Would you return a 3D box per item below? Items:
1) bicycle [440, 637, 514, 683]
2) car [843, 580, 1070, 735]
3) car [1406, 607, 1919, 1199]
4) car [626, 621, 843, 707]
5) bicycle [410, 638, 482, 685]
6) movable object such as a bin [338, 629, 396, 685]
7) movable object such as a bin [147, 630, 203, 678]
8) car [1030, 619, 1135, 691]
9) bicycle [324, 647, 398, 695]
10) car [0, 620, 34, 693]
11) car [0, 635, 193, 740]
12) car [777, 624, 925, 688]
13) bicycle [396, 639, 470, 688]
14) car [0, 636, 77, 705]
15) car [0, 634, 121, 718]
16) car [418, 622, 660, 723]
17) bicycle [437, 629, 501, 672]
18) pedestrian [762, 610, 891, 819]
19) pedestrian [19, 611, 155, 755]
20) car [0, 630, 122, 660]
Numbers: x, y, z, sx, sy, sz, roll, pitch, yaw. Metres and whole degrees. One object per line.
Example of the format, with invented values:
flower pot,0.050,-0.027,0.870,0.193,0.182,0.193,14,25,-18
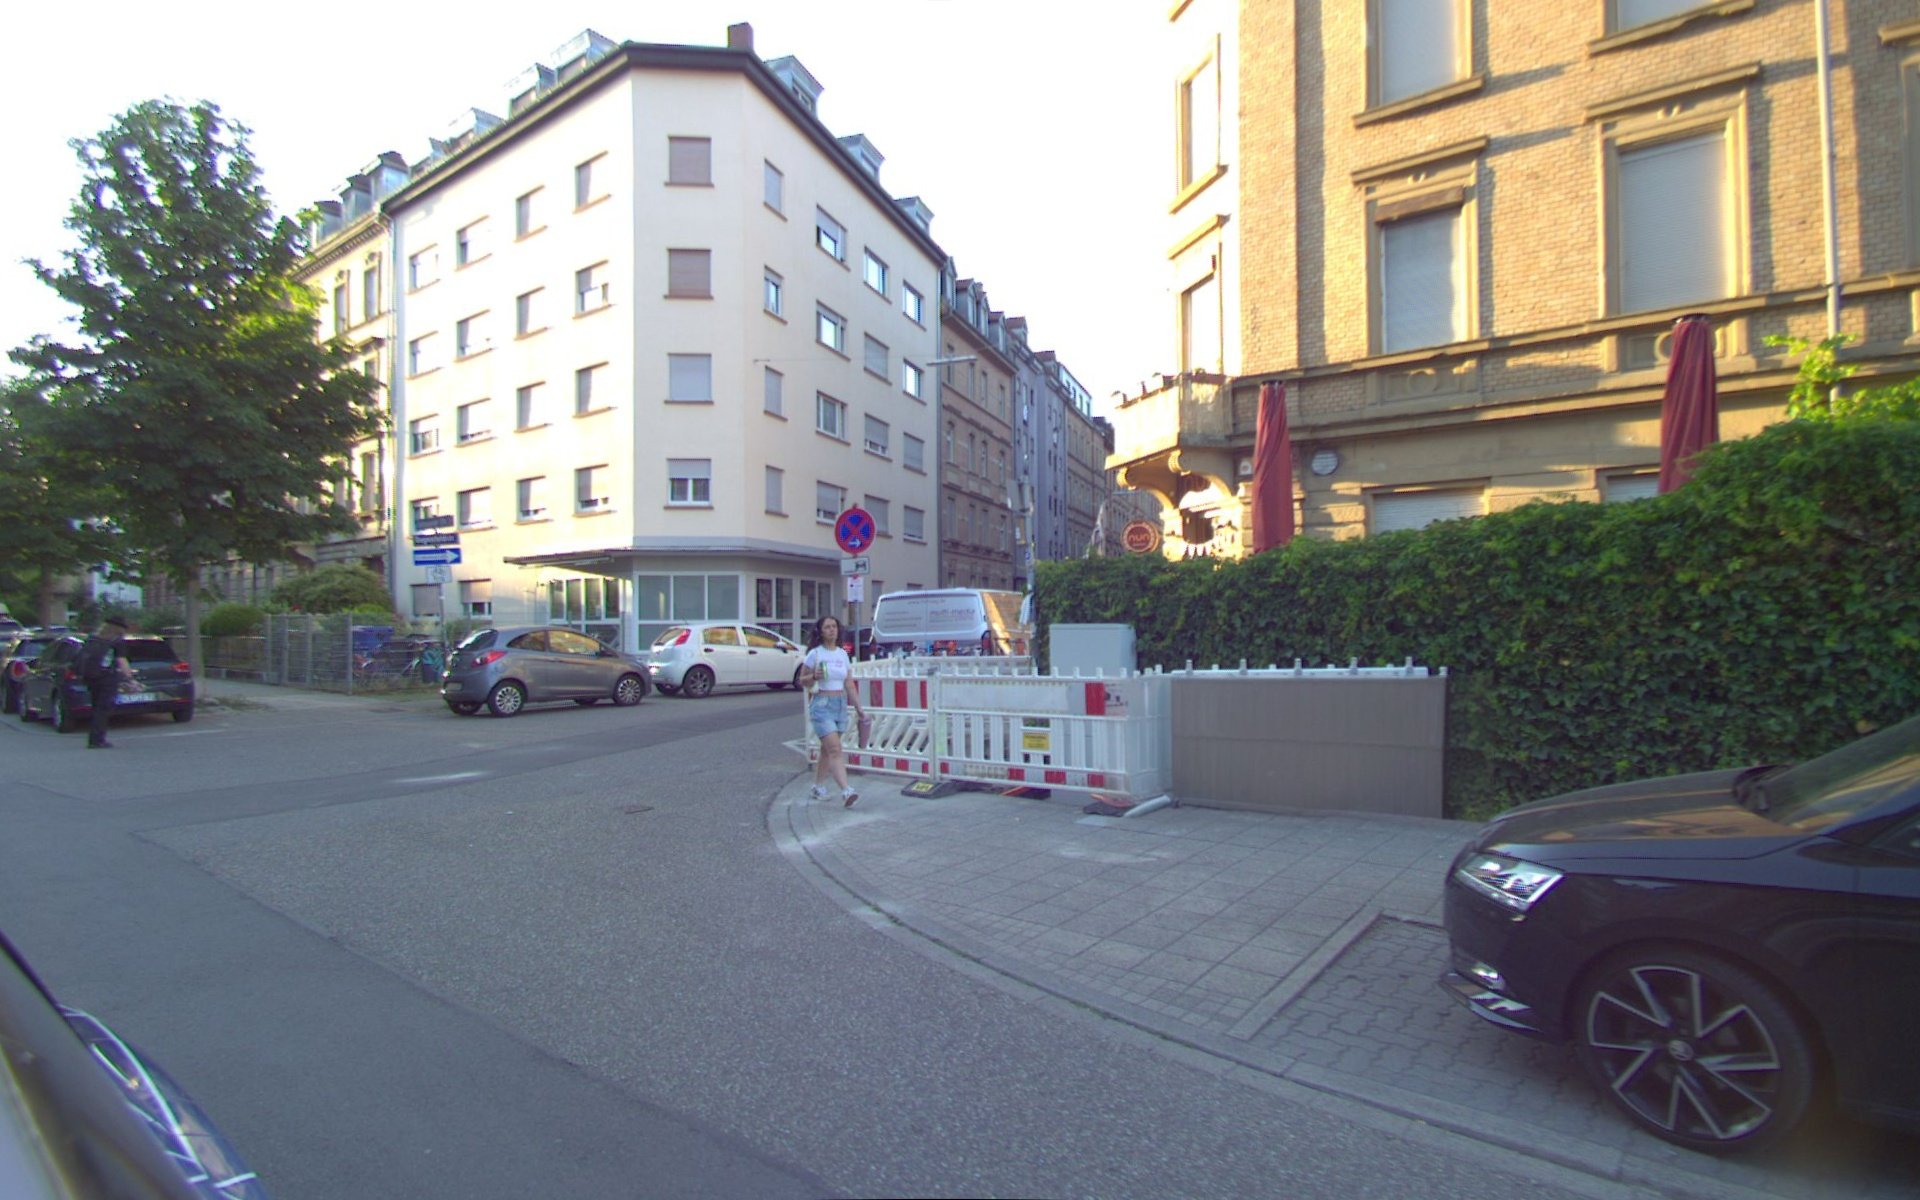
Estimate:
bicycle,-12.162,1.515,25.500,1.689,1.100,0.385,-1,0,3
car,0.193,0.824,15.892,2.189,1.990,5.266,-1,-2,16
car,3.506,0.787,2.794,3.841,1.546,1.686,-2,-1,40
car,-4.713,1.265,21.408,4.008,1.520,1.977,-1,0,-39
bicycle,-12.686,1.511,25.010,1.528,1.100,0.500,-1,0,2
movable object such as a bin,-15.213,1.433,25.953,1.398,1.362,0.857,-2,0,41
movable object such as a bin,-24.092,1.631,31.052,1.548,1.398,0.937,-2,0,36
car,3.048,1.294,24.499,2.004,1.583,3.900,-1,-2,15
bicycle,-13.746,1.604,23.209,1.927,1.033,0.681,-2,0,34
car,-25.881,1.453,26.418,4.617,1.792,1.844,-1,-1,38
car,-14.432,1.343,16.760,4.457,1.473,1.659,-1,-1,38
car,-2.598,1.348,25.213,1.985,1.450,4.048,-2,-2,22
bicycle,-12.744,1.532,24.493,1.528,1.100,0.500,-1,0,2
car,-22.015,1.560,23.238,4.585,1.423,1.844,-1,-1,38
car,-18.047,1.418,19.956,4.141,1.431,1.723,-2,-1,42
car,-7.299,1.199,17.754,1.842,1.519,3.472,-3,-2,38
bicycle,-13.623,1.379,28.104,0.499,1.100,1.531,-2,0,33
pedestrian,-1.122,0.909,8.505,0.787,1.630,0.702,-2,0,43
pedestrian,-11.067,1.024,12.866,0.879,1.735,0.958,-1,0,0
car,-44.615,2.201,50.313,1.624,1.351,4.357,-2,-1,40
